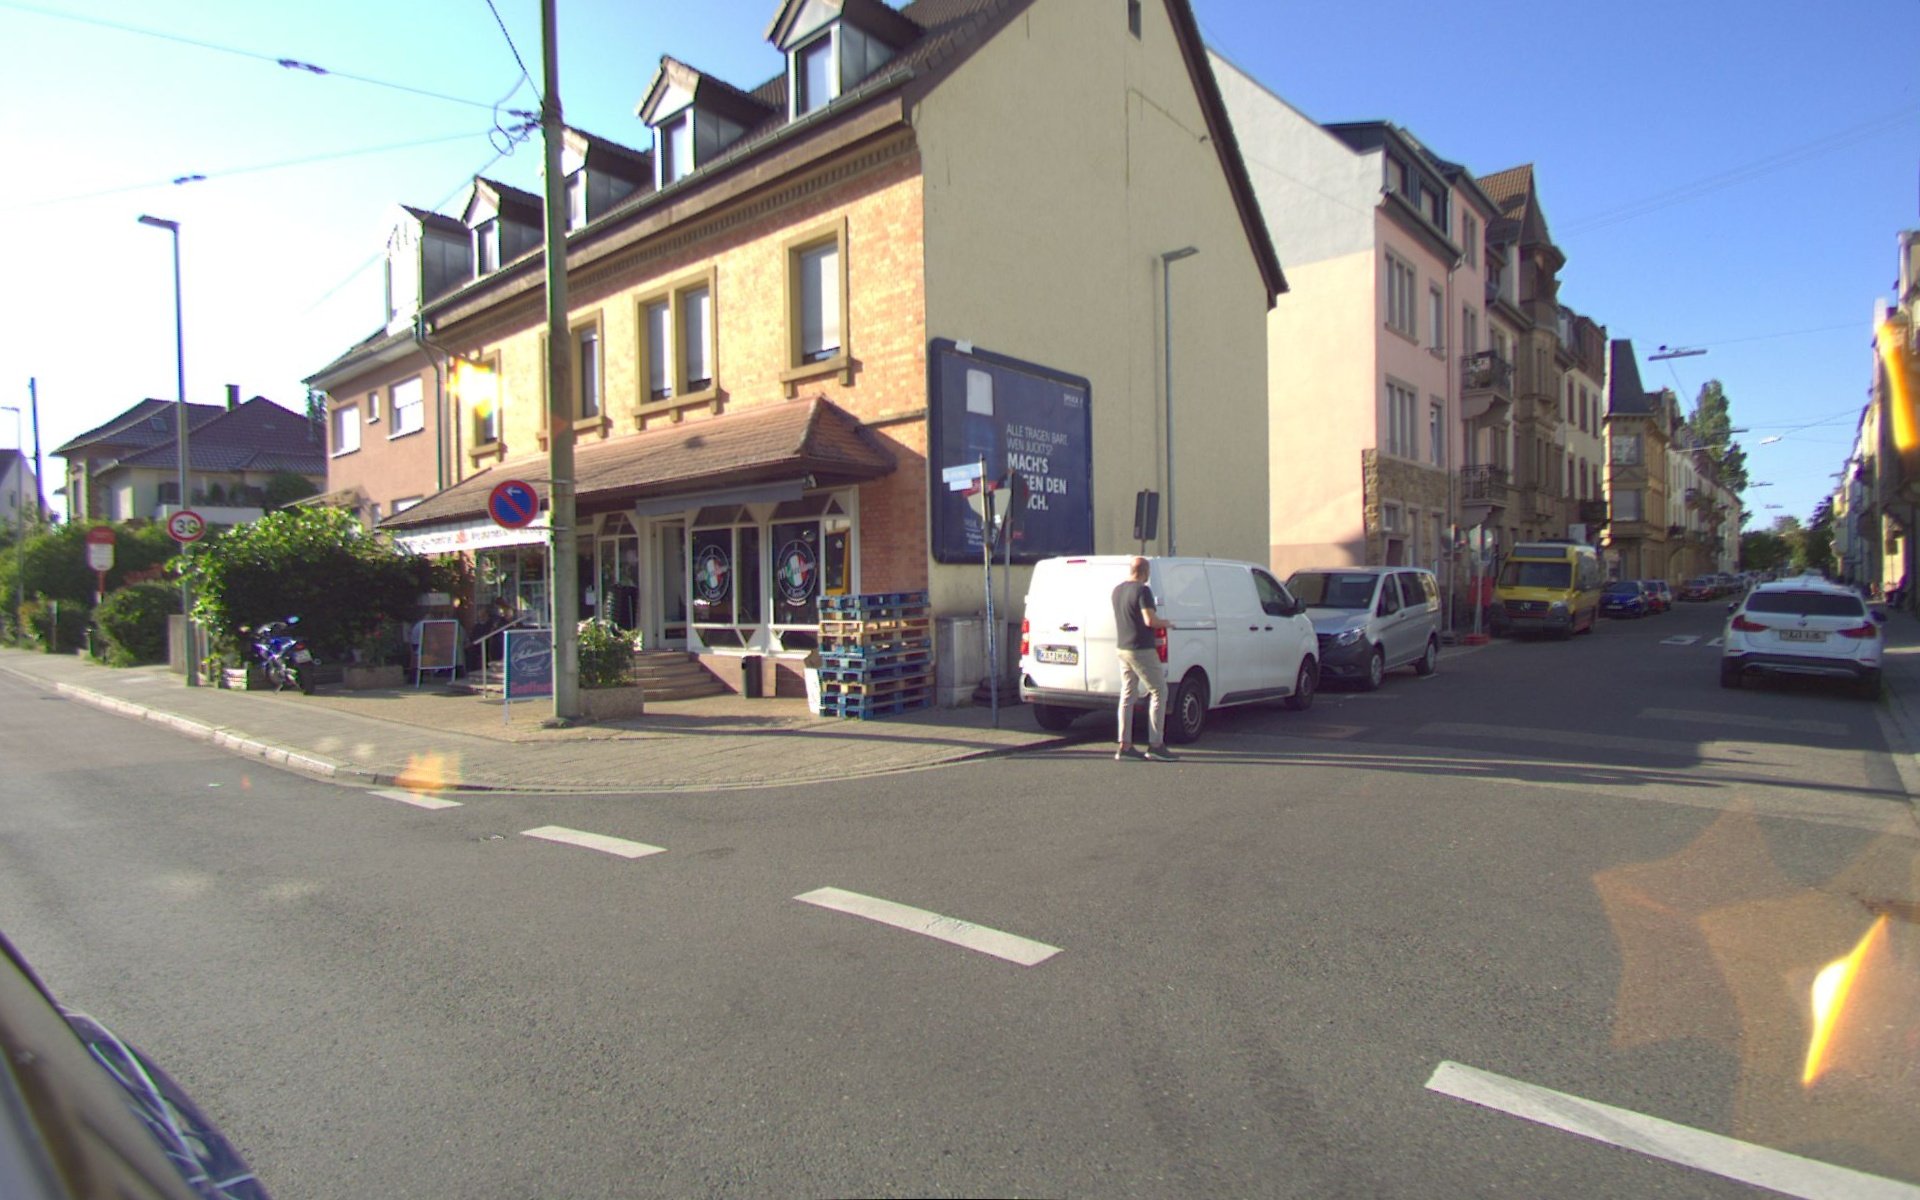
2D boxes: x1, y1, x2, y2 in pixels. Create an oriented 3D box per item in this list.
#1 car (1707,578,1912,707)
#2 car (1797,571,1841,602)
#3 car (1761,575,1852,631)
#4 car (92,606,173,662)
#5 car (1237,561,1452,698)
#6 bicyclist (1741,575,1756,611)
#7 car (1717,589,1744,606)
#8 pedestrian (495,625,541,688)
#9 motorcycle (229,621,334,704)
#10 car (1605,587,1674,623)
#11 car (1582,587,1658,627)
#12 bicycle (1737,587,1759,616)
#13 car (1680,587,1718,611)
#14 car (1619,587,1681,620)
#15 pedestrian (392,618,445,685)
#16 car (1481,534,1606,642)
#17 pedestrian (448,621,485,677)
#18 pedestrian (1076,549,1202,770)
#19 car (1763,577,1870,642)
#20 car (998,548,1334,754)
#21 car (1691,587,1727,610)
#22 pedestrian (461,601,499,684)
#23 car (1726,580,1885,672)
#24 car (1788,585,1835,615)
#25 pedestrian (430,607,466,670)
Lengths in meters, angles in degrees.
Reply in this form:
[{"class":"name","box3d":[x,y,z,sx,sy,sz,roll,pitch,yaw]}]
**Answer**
[{"class":"car","box3d":[12.457,0.492,14.881,2.000,1.536,3.945,4,4,41]},{"class":"car","box3d":[54.700,-0.884,64.438,2.000,1.857,3.945,4,4,41]},{"class":"car","box3d":[26.338,0.045,31.475,2.000,1.536,3.945,4,4,41]},{"class":"car","box3d":[-30.398,1.243,37.138,3.671,1.828,1.682,-1,-6,43]},{"class":"car","box3d":[6.465,0.403,16.649,1.997,1.909,4.914,-1,0,37]},{"class":"bicyclist","box3d":[39.668,-0.360,50.936,0.558,1.780,0.575,-1,0,38]},{"class":"car","box3d":[68.541,-0.253,89.996,1.600,1.420,3.945,4,4,41]},{"class":"pedestrian","box3d":[-8.225,1.041,18.819,0.632,1.118,0.557,-1,0,42]},{"class":"motorcycle","box3d":[-11.611,1.020,17.290,2.229,1.292,0.831,-1,1,39]},{"class":"car","box3d":[30.366,0.188,45.185,2.000,1.419,3.945,4,4,41]},{"class":"car","box3d":[26.917,0.229,41.212,2.000,1.419,3.945,4,4,41]},{"class":"bicycle","box3d":[39.510,0.068,50.715,0.824,1.425,2.332,-1,0,39]},{"class":"car","box3d":[47.868,-0.109,65.541,1.600,1.420,3.945,4,4,41]},{"class":"car","box3d":[33.653,0.156,49.350,2.000,1.419,3.945,4,4,41]},{"class":"pedestrian","box3d":[-10.589,0.996,19.794,0.667,1.253,0.736,-1,0,44]},{"class":"car","box3d":[16.765,-0.324,28.888,2.136,2.747,6.047,-1,0,39]},{"class":"pedestrian","box3d":[-9.697,0.959,19.891,0.382,1.055,0.520,-1,0,25]},{"class":"pedestrian","box3d":[1.635,0.511,9.208,0.819,1.882,0.785,-2,-1,37]},{"class":"car","box3d":[23.069,0.191,27.267,2.000,1.536,3.945,4,4,41]},{"class":"car","box3d":[2.626,0.472,11.955,1.998,1.947,4.569,-1,0,39]},{"class":"car","box3d":[51.675,-0.137,69.787,1.600,1.420,3.945,4,4,41]},{"class":"pedestrian","box3d":[-9.307,0.815,19.629,0.500,1.572,0.461,0,0,29]},{"class":"car","box3d":[15.606,0.383,18.692,2.000,1.419,3.945,4,4,41]},{"class":"car","box3d":[50.541,-0.051,60.068,2.000,1.625,3.945,4,4,41]},{"class":"pedestrian","box3d":[-10.517,0.783,20.796,0.465,1.268,0.517,-1,0,43]}]
